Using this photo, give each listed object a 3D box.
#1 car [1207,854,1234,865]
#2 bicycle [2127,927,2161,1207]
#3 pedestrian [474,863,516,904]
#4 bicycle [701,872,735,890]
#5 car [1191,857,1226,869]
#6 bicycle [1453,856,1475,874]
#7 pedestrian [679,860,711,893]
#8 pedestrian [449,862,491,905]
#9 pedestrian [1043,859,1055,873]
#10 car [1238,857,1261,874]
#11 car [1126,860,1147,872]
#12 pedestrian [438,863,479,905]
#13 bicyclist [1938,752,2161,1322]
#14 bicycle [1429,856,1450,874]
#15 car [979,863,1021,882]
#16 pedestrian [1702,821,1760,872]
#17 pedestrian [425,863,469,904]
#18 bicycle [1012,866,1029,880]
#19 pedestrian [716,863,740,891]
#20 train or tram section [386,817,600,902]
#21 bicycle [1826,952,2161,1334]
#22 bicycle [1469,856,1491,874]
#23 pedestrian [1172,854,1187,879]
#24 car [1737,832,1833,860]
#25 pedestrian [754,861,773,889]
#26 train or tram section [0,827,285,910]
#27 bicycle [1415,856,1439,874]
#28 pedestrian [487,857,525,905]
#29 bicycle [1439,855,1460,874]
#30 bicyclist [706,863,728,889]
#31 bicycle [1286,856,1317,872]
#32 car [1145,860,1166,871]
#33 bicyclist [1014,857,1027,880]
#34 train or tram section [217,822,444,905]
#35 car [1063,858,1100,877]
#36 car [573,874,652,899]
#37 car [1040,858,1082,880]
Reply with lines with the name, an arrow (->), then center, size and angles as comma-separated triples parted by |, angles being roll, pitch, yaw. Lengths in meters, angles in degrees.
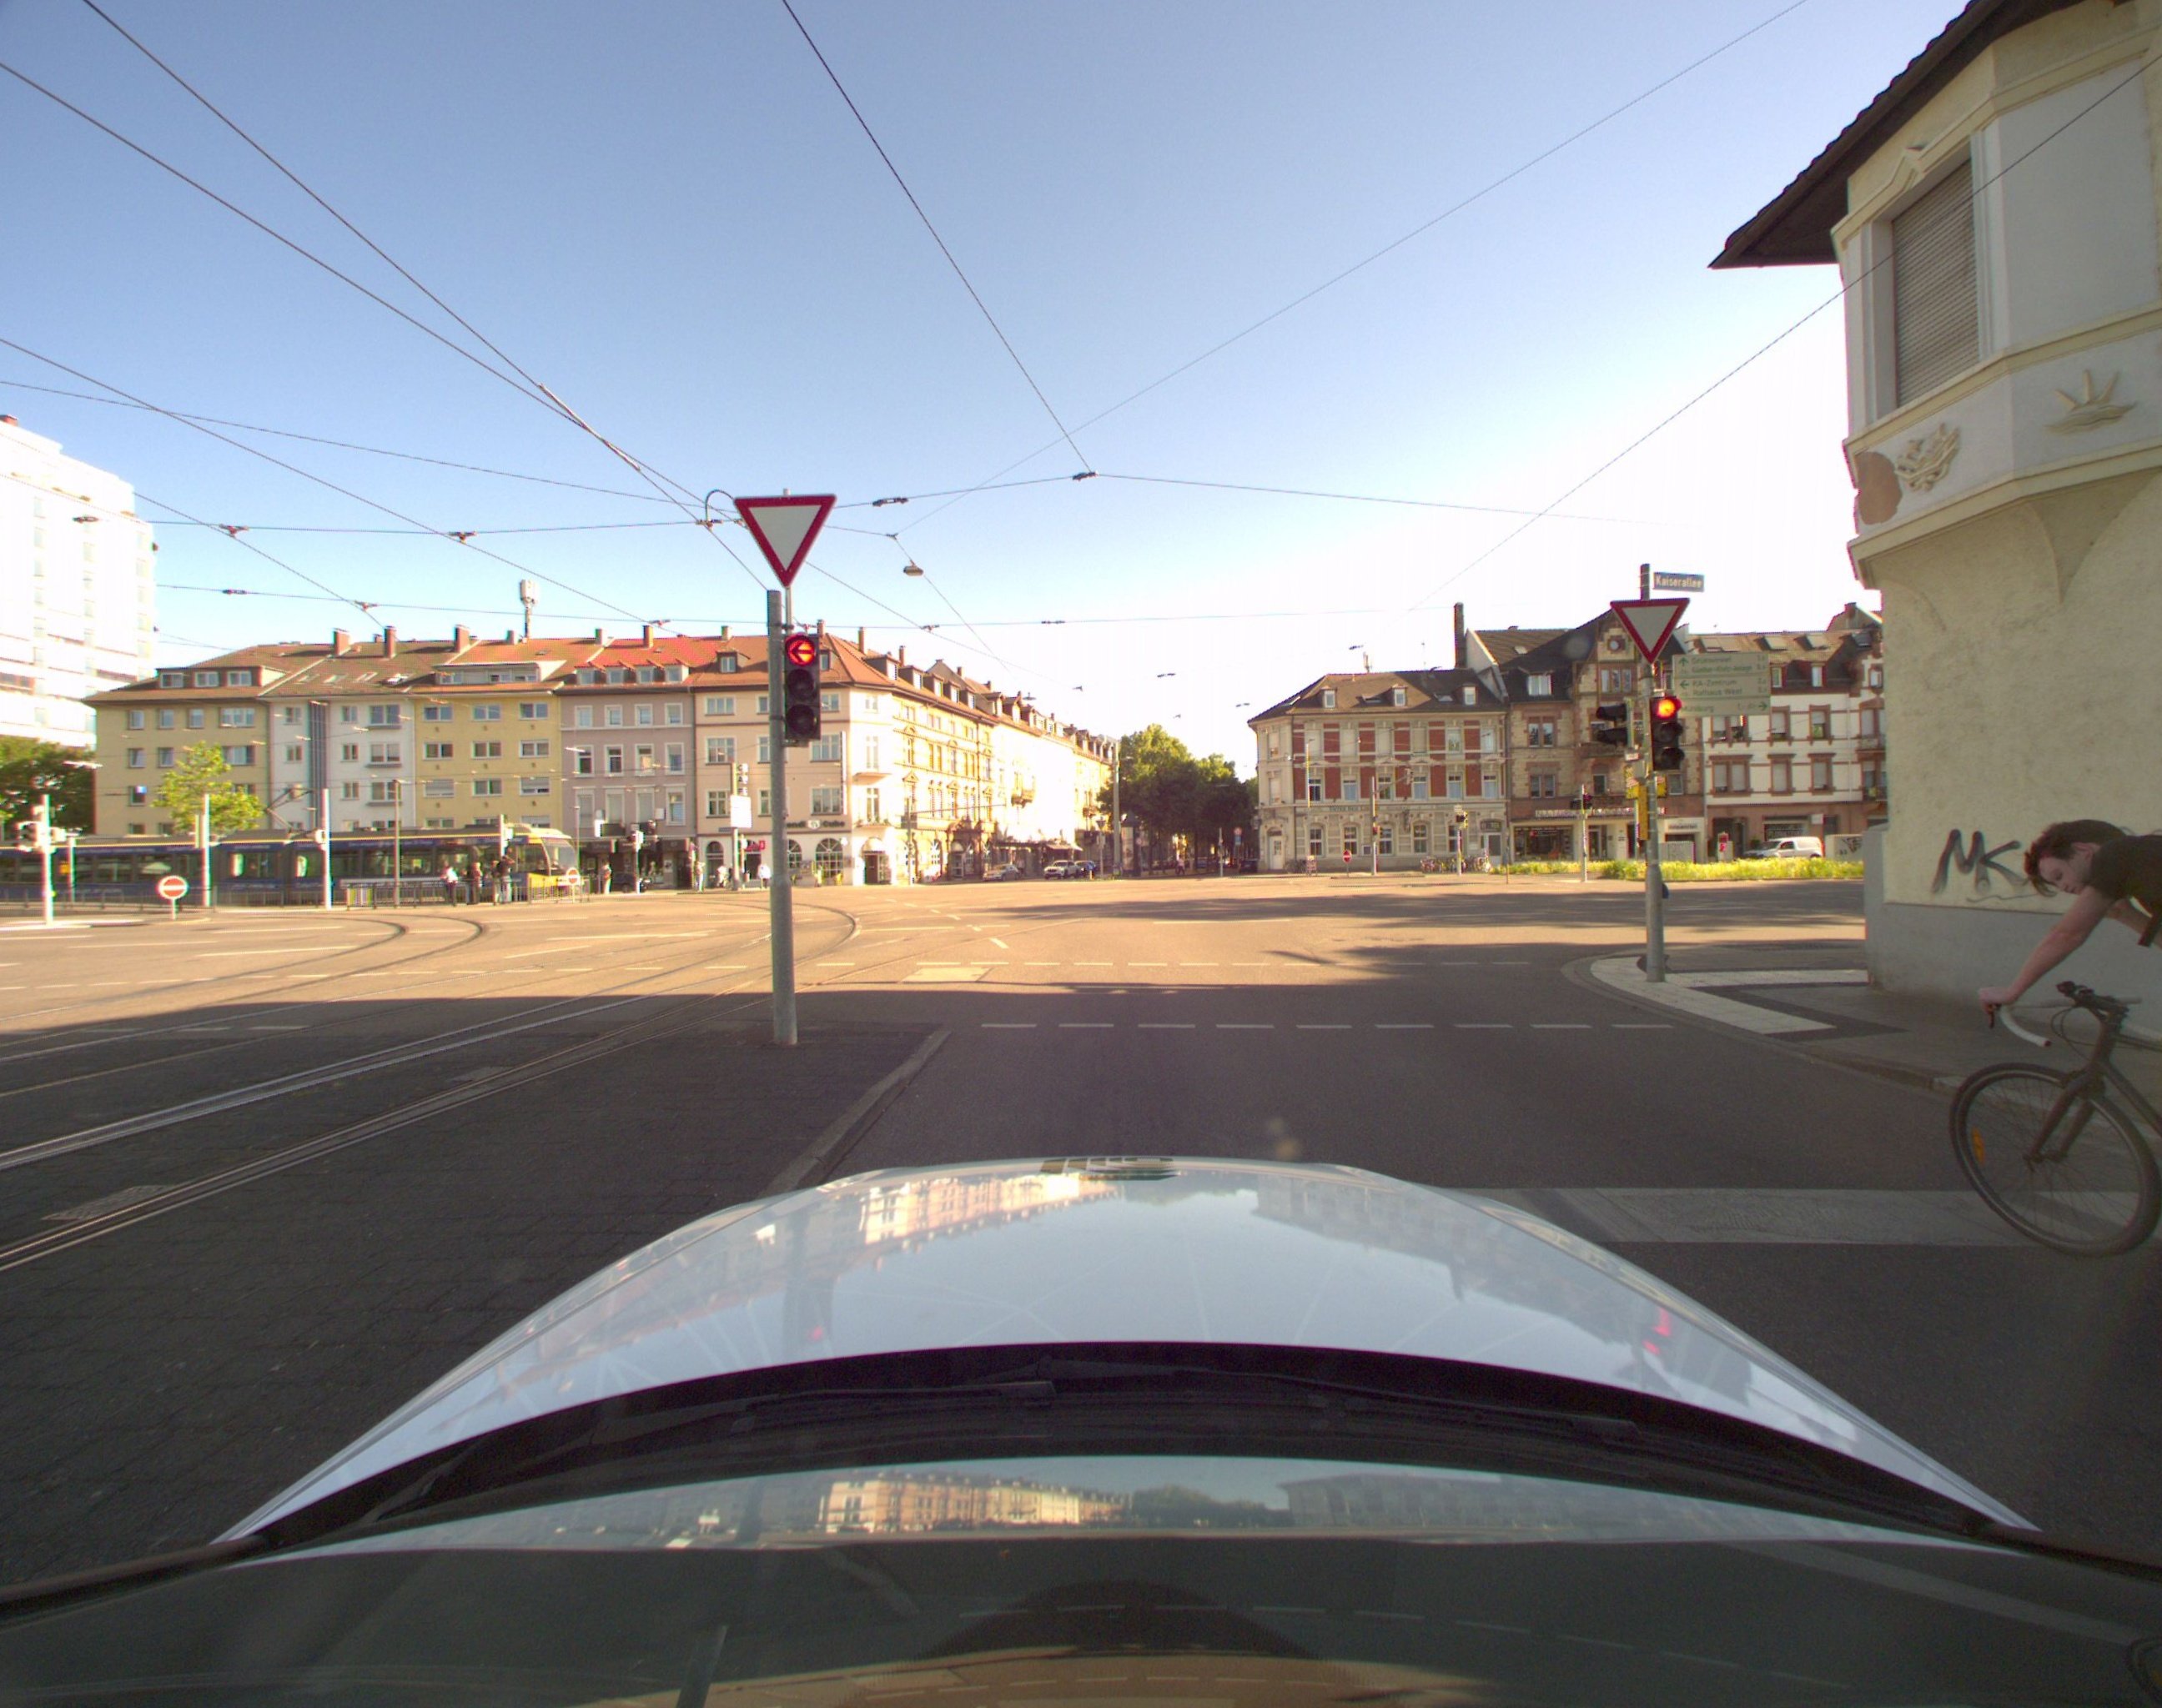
car -> 22.828, 0.967, 133.305 | 3.948, 1.706, 2.013 | -2, 0, 32
bicycle -> 4.533, 0.857, 2.447 | 0.516, 1.116, 1.815 | -2, 0, 4
pedestrian -> -23.242, 1.163, 32.306 | 0.997, 1.598, 0.946 | -2, 0, 23
bicycle -> -25.329, 1.886, 56.891 | 2.083, 1.181, 0.631 | -1, 0, 1
car -> 18.048, 1.306, 115.124 | 4.335, 1.612, 2.012 | -2, 0, 28
bicycle -> 24.776, 0.708, 52.692 | 0.615, 1.143, 2.178 | -2, 0, 7
pedestrian -> -20.131, 1.151, 42.465 | 1.076, 1.685, 1.104 | -2, 0, 1
pedestrian -> -23.259, 1.117, 31.008 | 0.996, 1.598, 0.947 | -2, 0, 32
pedestrian -> -3.427, 1.282, 86.911 | 0.921, 1.535, 1.142 | -1, 0, 16
car -> 17.012, 1.138, 82.218 | 1.978, 1.585, 4.017 | -2, 0, 16
car -> 7.530, 1.665, 110.983 | 1.978, 1.486, 4.017 | -1, 0, 16
pedestrian -> -24.181, 1.163, 31.633 | 0.996, 1.598, 0.947 | -2, 0, 34
bicyclist -> 3.597, 0.560, 2.595 | 0.559, 1.754, 1.102 | -2, 0, 4
bicycle -> 23.276, 0.690, 52.840 | 0.615, 1.143, 2.178 | -2, 0, 7
car -> -6.686, 1.519, 67.383 | 1.883, 1.455, 4.020 | -2, 0, 20
pedestrian -> 27.111, -0.308, 34.002 | 1.314, 2.044, 1.307 | -2, 0, 1
pedestrian -> -25.306, 1.180, 32.517 | 0.998, 1.598, 0.946 | -2, 0, 18
bicycle -> -4.819, 1.510, 65.297 | 0.675, 1.066, 2.133 | -2, 0, 14
pedestrian -> -23.006, 1.502, 53.104 | 0.998, 1.775, 0.945 | -2, 0, 16
train or tram section -> -26.632, 0.255, 37.053 | 7.896, 3.500, 2.828 | -1, 0, 6
bicycle -> 3.612, 0.947, 2.672 | 0.642, 1.010, 1.930 | -2, 0, 4
bicycle -> 25.753, 0.687, 52.602 | 0.606, 1.136, 2.139 | -2, 0, 7
pedestrian -> 6.996, 0.862, 57.764 | 1.040, 1.744, 0.810 | -1, 0, 8
car -> 45.356, -0.483, 52.557 | 4.317, 1.640, 2.152 | -2, 0, 1
pedestrian -> -20.754, 1.353, 53.223 | 1.013, 1.775, 0.931 | -1, 0, -33
train or tram section -> -44.726, 0.669, 38.254 | 11.946, 3.500, 2.780 | -1, 0, 1
bicycle -> 22.497, 0.699, 52.989 | 0.802, 1.143, 2.178 | -2, 0, 7
pedestrian -> -22.101, 1.038, 31.295 | 0.996, 1.775, 0.947 | -2, -1, 41
bicycle -> 23.855, 0.670, 52.787 | 0.615, 1.143, 2.178 | -2, 0, 7
bicyclist -> -25.421, 1.526, 56.838 | 1.161, 1.775, 0.748 | -1, 0, 0
bicycle -> 15.497, 0.721, 57.192 | 2.081, 1.124, 0.366 | 0, -1, -3
car -> 11.251, 1.728, 122.602 | 1.977, 1.612, 4.413 | -2, 0, 20
bicyclist -> -4.815, 1.129, 65.340 | 0.674, 1.820, 1.075 | -2, 0, 14
train or tram section -> -34.693, 0.439, 37.799 | 8.391, 3.500, 2.829 | -1, 0, 6
car -> 0.114, 1.215, 74.017 | 1.977, 1.612, 4.413 | -2, 0, 20
car -> -30.622, 2.139, 53.337 | 3.974, 1.453, 2.000 | -1, 0, -1
car -> -1.610, 1.249, 67.540 | 1.977, 1.684, 4.413 | -2, 0, 20
